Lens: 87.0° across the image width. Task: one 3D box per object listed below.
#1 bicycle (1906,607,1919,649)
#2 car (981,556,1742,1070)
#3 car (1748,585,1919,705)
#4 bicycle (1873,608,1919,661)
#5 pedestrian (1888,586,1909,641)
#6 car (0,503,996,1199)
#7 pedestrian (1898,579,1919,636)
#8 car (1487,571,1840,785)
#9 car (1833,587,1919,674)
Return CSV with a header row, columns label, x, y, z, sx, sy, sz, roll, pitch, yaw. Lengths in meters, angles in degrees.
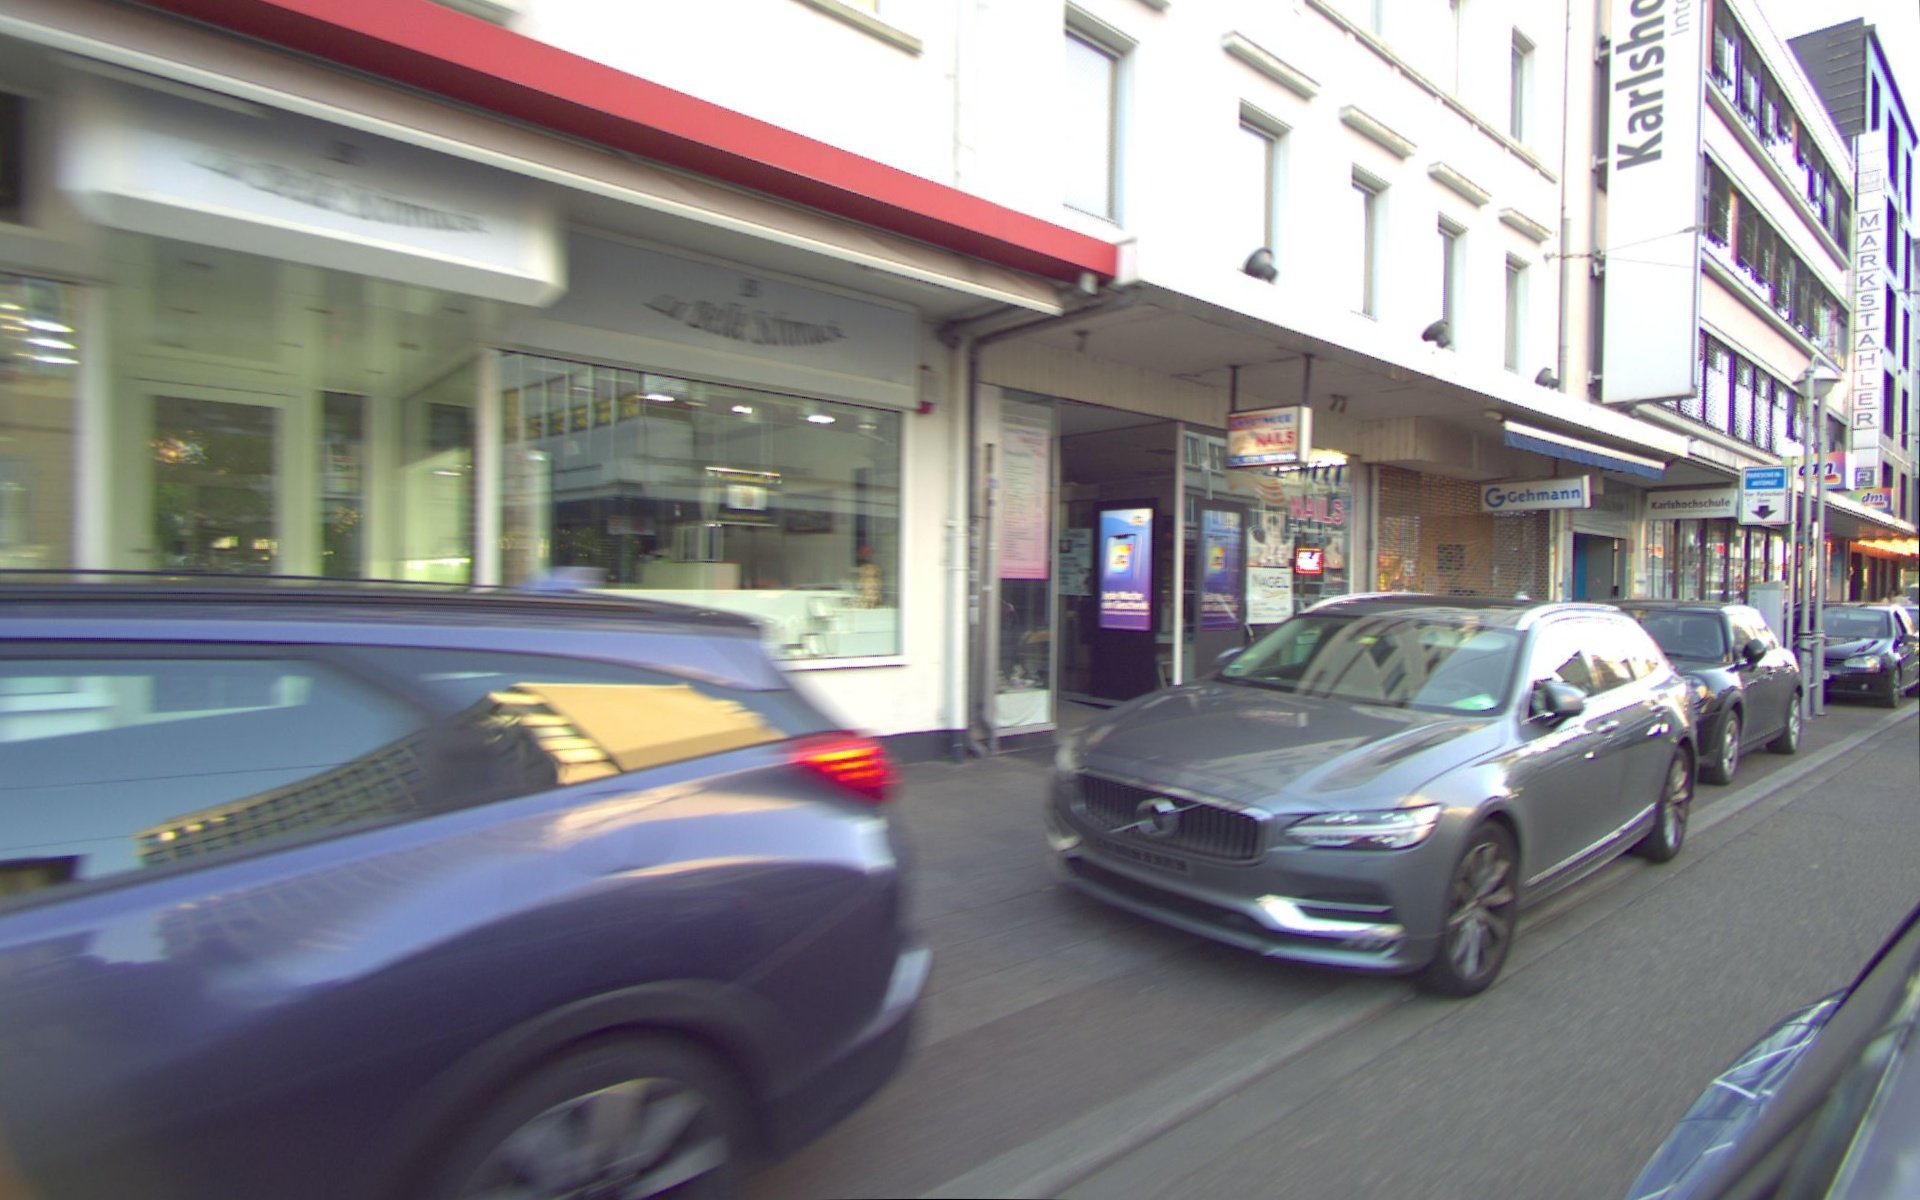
label,x,y,z,sx,sy,sz,roll,pitch,yaw
bicycle,25.734,0.787,26.089,0.665,1.090,1.888,0,3,-43
car,2.421,0.617,5.288,4.631,1.530,1.793,0,3,-42
car,13.618,0.587,15.406,4.093,1.530,1.724,0,3,-40
bicycle,21.496,0.782,22.356,0.665,1.152,1.888,0,1,-43
pedestrian,32.922,0.467,35.493,0.414,1.922,0.452,1,1,-41
car,-2.099,0.602,1.635,4.227,1.530,1.739,0,3,-40
pedestrian,32.049,0.246,34.166,0.414,1.922,0.456,1,1,-41
car,6.621,0.557,9.369,3.963,1.530,1.689,0,3,-40
car,18.771,0.558,19.924,4.182,1.530,1.748,0,3,-40
